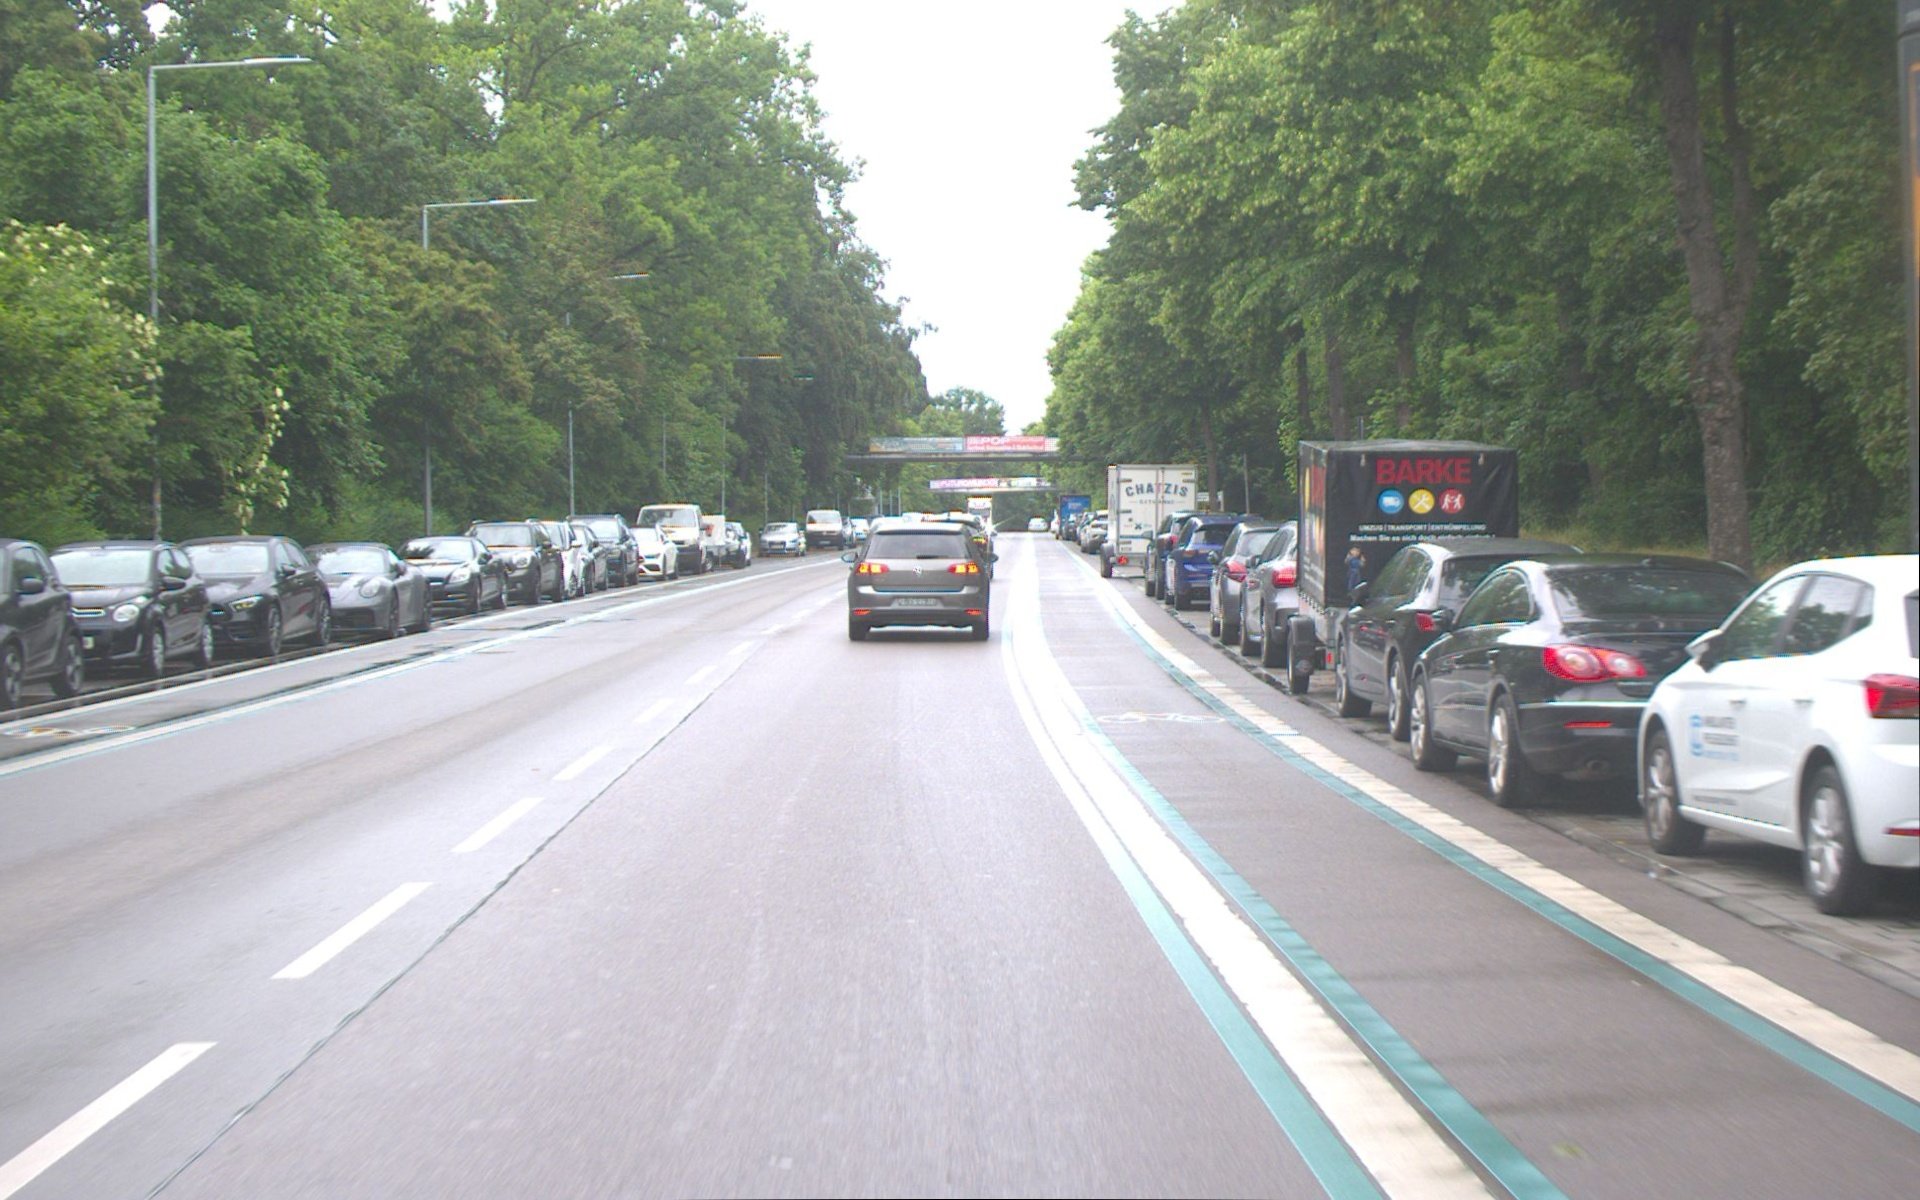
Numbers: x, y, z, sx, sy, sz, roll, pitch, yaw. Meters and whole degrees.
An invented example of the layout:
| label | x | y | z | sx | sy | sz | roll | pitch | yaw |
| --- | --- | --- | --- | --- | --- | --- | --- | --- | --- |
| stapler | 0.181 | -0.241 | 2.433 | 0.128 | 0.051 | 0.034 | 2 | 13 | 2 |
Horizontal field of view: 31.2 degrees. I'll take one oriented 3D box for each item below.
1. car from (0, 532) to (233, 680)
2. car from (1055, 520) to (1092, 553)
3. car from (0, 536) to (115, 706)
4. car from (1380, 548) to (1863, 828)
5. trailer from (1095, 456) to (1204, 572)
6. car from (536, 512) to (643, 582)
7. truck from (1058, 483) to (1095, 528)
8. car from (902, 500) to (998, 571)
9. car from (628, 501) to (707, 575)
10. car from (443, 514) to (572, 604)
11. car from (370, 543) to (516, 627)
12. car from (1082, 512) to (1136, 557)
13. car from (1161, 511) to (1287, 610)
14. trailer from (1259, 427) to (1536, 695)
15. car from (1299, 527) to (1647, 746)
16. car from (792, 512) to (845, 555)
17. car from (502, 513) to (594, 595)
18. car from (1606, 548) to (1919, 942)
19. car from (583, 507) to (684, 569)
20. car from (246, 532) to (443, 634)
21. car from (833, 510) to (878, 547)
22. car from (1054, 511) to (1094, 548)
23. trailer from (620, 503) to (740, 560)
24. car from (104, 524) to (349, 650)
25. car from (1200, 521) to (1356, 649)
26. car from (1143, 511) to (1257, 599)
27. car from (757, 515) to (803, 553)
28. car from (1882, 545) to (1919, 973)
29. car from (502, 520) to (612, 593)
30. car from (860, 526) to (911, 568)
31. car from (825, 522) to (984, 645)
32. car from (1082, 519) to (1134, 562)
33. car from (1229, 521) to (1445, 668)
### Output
| label | x | y | z | sx | sy | sz | roll | pitch | yaw |
| --- | --- | --- | --- | --- | --- | --- | --- | --- | --- |
| car | -9.292 | 0.021 | 37.863 | 1.603 | 1.505 | 3.977 | 0 | 2 | 2 |
| car | 6.364 | -3.560 | 193.256 | 1.993 | 1.766 | 4.000 | -2 | 1 | 1 |
| car | -9.235 | 0.164 | 32.514 | 1.603 | 1.505 | 3.139 | 0 | 2 | 2 |
| car | 3.725 | 0.428 | 20.151 | 1.751 | 1.388 | 4.446 | 1 | 1 | -3 |
| trailer | 4.250 | -1.947 | 77.711 | 2.132 | 2.551 | 4.298 | 0 | 1 | -1 |
| car | -8.509 | -1.249 | 79.216 | 1.879 | 1.556 | 4.468 | 0 | 1 | 1 |
| truck | 6.782 | -5.526 | 200.869 | 2.113 | 2.590 | 4.301 | -1 | 1 | 1 |
| car | -0.246 | -1.412 | 74.298 | 1.880 | 1.461 | 4.001 | 1 | 2 | -2 |
| car | -8.151 | -1.758 | 96.120 | 1.939 | 2.007 | 4.741 | 0 | 1 | -2 |
| car | -8.265 | -0.779 | 63.091 | 1.696 | 1.578 | 4.139 | 0 | 1 | 2 |
| car | -8.616 | -0.274 | 57.592 | 1.696 | 1.296 | 4.192 | 0 | 1 | 2 |
| car | 5.437 | -2.419 | 126.184 | 1.897 | 1.601 | 4.000 | 0 | 1 | 1 |
| car | 4.167 | -0.663 | 54.772 | 1.682 | 1.476 | 4.319 | 0 | 2 | 0 |
| trailer | 3.869 | -0.391 | 31.165 | 1.906 | 2.240 | 4.768 | 0 | 2 | 0 |
| car | 3.801 | 0.211 | 26.180 | 1.822 | 1.480 | 4.200 | 2 | 1 | -2 |
| car | -6.811 | -3.219 | 166.246 | 2.159 | 2.007 | 5.031 | -1 | 1 | 2 |
| car | -8.082 | -0.927 | 67.599 | 1.461 | 1.566 | 2.984 | -1 | 1 | 0 |
| car | 4.138 | 0.530 | 15.043 | 1.617 | 1.461 | 4.001 | 1 | 1 | -3 |
| car | -8.109 | -1.562 | 85.739 | 1.993 | 1.483 | 4.468 | 0 | 1 | 1 |
| car | -8.389 | -0.265 | 47.229 | 1.870 | 1.299 | 4.471 | 0 | 1 | 0 |
| car | -5.760 | -3.982 | 190.440 | 2.159 | 2.007 | 5.031 | -1 | 1 | 2 |
| car | 6.152 | -3.804 | 185.843 | 1.993 | 2.007 | 4.000 | 0 | 1 | 0 |
| trailer | -8.205 | -2.018 | 101.094 | 1.628 | 1.623 | 3.666 | 0 | 2 | 32 |
| car | -9.004 | -0.200 | 42.524 | 1.993 | 1.447 | 4.138 | 0 | 2 | 2 |
| car | 3.859 | -0.224 | 42.185 | 1.615 | 1.465 | 4.000 | 1 | 1 | 1 |
| car | 4.201 | -0.824 | 60.738 | 1.713 | 1.507 | 3.976 | 0 | 1 | 0 |
| car | -7.379 | -2.716 | 141.100 | 1.672 | 1.508 | 3.630 | 0 | 2 | 0 |
| car | 4.131 | 0.607 | 10.262 | 1.659 | 1.460 | 3.900 | 2 | 1 | 0 |
| car | -8.536 | -0.950 | 73.136 | 1.808 | 1.483 | 4.469 | 0 | 1 | 0 |
| car | -2.760 | -1.984 | 128.367 | 1.698 | 1.479 | 4.035 | -2 | 2 | 1 |
| car | -0.704 | -0.204 | 43.288 | 1.871 | 1.436 | 4.296 | 1 | 0 | -1 |
| car | 5.610 | -2.263 | 130.802 | 1.897 | 1.601 | 4.000 | 0 | 1 | 1 |
| car | 3.938 | -0.107 | 36.562 | 1.795 | 1.445 | 4.429 | -1 | 1 | 0 |
